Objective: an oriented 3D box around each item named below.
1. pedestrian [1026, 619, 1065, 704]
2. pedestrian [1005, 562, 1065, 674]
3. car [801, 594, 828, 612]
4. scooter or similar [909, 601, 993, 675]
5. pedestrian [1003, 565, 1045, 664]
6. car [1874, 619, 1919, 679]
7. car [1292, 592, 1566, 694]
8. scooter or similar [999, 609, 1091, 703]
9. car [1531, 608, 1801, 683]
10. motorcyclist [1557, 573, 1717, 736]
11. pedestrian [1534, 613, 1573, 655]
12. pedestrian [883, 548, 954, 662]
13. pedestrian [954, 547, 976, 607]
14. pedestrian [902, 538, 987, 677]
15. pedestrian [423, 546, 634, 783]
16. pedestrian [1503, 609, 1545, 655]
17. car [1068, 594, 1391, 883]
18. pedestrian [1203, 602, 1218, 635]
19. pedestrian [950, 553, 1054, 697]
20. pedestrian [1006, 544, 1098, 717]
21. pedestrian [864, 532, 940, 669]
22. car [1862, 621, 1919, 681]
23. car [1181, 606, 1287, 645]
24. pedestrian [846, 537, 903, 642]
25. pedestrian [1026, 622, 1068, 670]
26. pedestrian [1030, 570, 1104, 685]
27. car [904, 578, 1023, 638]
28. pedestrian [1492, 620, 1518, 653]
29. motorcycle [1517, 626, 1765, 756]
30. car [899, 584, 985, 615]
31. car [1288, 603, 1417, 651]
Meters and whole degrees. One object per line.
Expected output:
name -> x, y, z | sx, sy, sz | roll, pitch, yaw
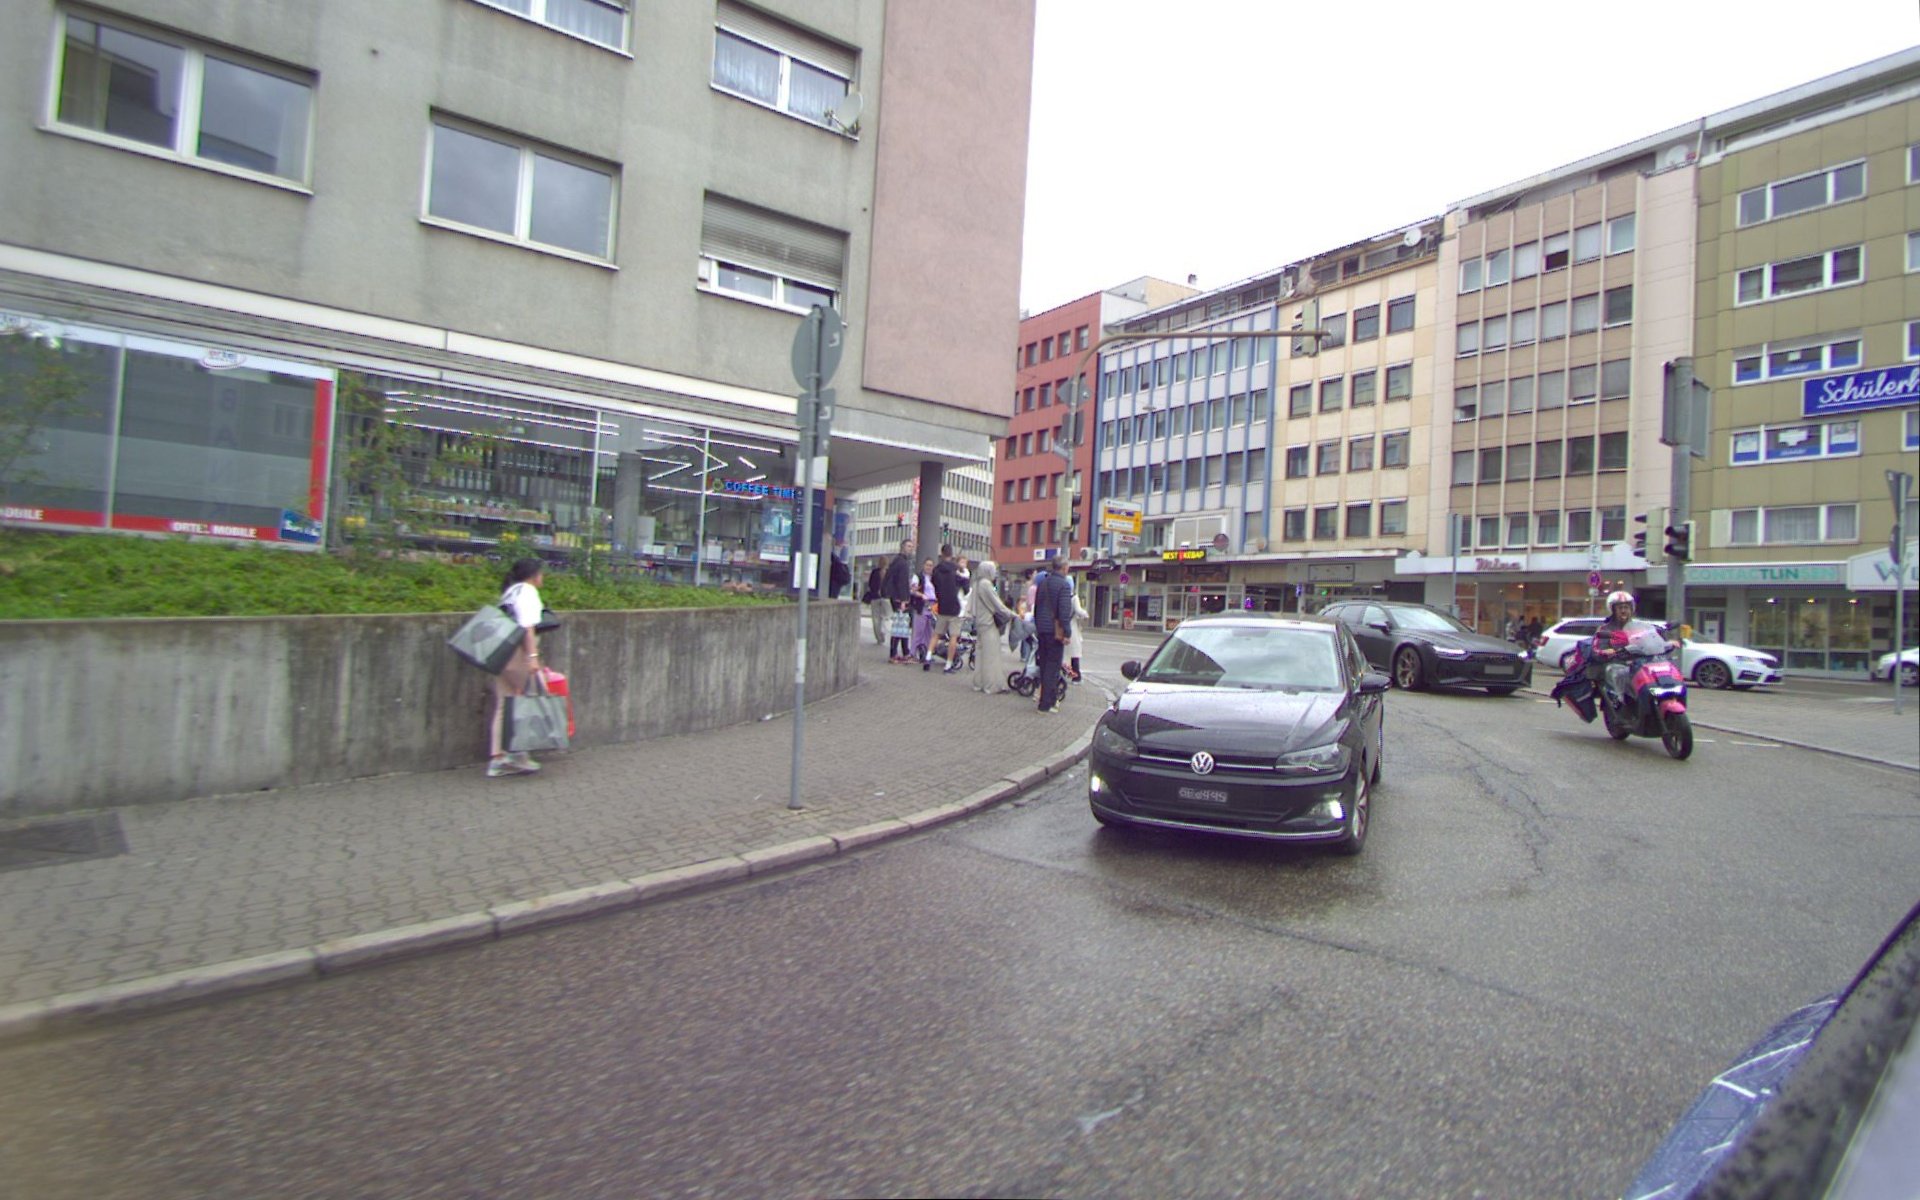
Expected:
pedestrian -> 1.064, 0.761, 12.655 | 0.256, 1.012, 0.473 | 7, -2, -10
pedestrian -> 1.185, 0.265, 15.916 | 0.733, 1.654, 0.595 | 6, 1, 8
car -> -14.495, 0.324, 100.759 | 1.960, 1.652, 4.623 | 1, -1, -17
scooter or similar -> -0.147, 0.572, 15.582 | 0.757, 0.998, 1.049 | 5, 1, -33
pedestrian -> 1.160, 0.249, 18.394 | 0.616, 1.713, 0.781 | 4, 0, 2
car -> 26.804, 1.352, 26.303 | 1.671, 1.583, 4.205 | 2, -1, -31
car -> 8.053, 0.674, 18.007 | 1.958, 1.510, 4.743 | 2, -1, -11
scooter or similar -> 1.104, 0.724, 13.243 | 0.952, 1.123, 0.656 | 5, -1, -14
car -> 15.587, 0.966, 22.610 | 1.763, 1.434, 4.633 | 3, -1, -33
motorcyclist -> 7.205, 0.560, 10.834 | 1.074, 1.625, 0.951 | 1, -1, 6
pedestrian -> 21.734, 1.246, 37.066 | 0.656, 1.503, 1.065 | 1, -1, -34
pedestrian -> -0.668, 0.069, 16.250 | 0.821, 1.743, 0.619 | 4, 1, -25
pedestrian -> 0.068, -0.326, 14.647 | 0.216, 0.858, 0.442 | 1, 0, -12
pedestrian -> -0.227, 0.100, 14.644 | 0.821, 1.887, 0.660 | 6, 1, -29
pedestrian -> -3.180, 0.418, 7.467 | 1.054, 1.550, 1.013 | 4, 2, 39
pedestrian -> 21.567, 1.204, 38.702 | 0.936, 1.717, 1.086 | 1, -1, -34
car -> 2.233, 0.733, 7.544 | 1.725, 1.448, 3.849 | 0, 2, 24
pedestrian -> 13.152, 0.970, 53.119 | 0.438, 1.730, 0.584 | 1, -2, -32
pedestrian -> 0.529, 0.320, 13.109 | 1.017, 1.744, 0.840 | 4, -1, -16
pedestrian -> 1.052, 0.334, 11.743 | 0.604, 1.889, 0.789 | 6, 2, -17
pedestrian -> -0.871, 0.003, 15.147 | 0.803, 1.955, 0.733 | 4, 0, -25
car -> 26.769, 1.379, 26.478 | 1.817, 1.570, 4.401 | 1, -1, -33
car -> 12.945, 1.177, 48.081 | 1.834, 1.629, 4.883 | 2, -1, -32
pedestrian -> -1.579, -0.183, 18.687 | 0.821, 1.889, 0.667 | 1, -1, -29
pedestrian -> 1.134, 0.599, 13.223 | 0.364, 0.578, 0.459 | 5, -1, -14
pedestrian -> 1.640, 0.413, 15.587 | 0.530, 1.657, 0.839 | 7, 0, -33
car -> 0.024, 0.216, 28.584 | 1.833, 1.567, 4.111 | 1, -1, -24
pedestrian -> 21.302, 1.437, 39.569 | 0.526, 1.265, 0.721 | 1, -1, -34
motorcycle -> 7.213, 0.907, 10.929 | 1.291, 1.149, 2.181 | 2, 0, 5
car -> -0.951, -0.010, 52.791 | 4.414, 1.571, 1.968 | 0, -1, 44
car -> 16.444, 1.103, 42.647 | 1.818, 1.850, 4.967 | 2, -1, -32
